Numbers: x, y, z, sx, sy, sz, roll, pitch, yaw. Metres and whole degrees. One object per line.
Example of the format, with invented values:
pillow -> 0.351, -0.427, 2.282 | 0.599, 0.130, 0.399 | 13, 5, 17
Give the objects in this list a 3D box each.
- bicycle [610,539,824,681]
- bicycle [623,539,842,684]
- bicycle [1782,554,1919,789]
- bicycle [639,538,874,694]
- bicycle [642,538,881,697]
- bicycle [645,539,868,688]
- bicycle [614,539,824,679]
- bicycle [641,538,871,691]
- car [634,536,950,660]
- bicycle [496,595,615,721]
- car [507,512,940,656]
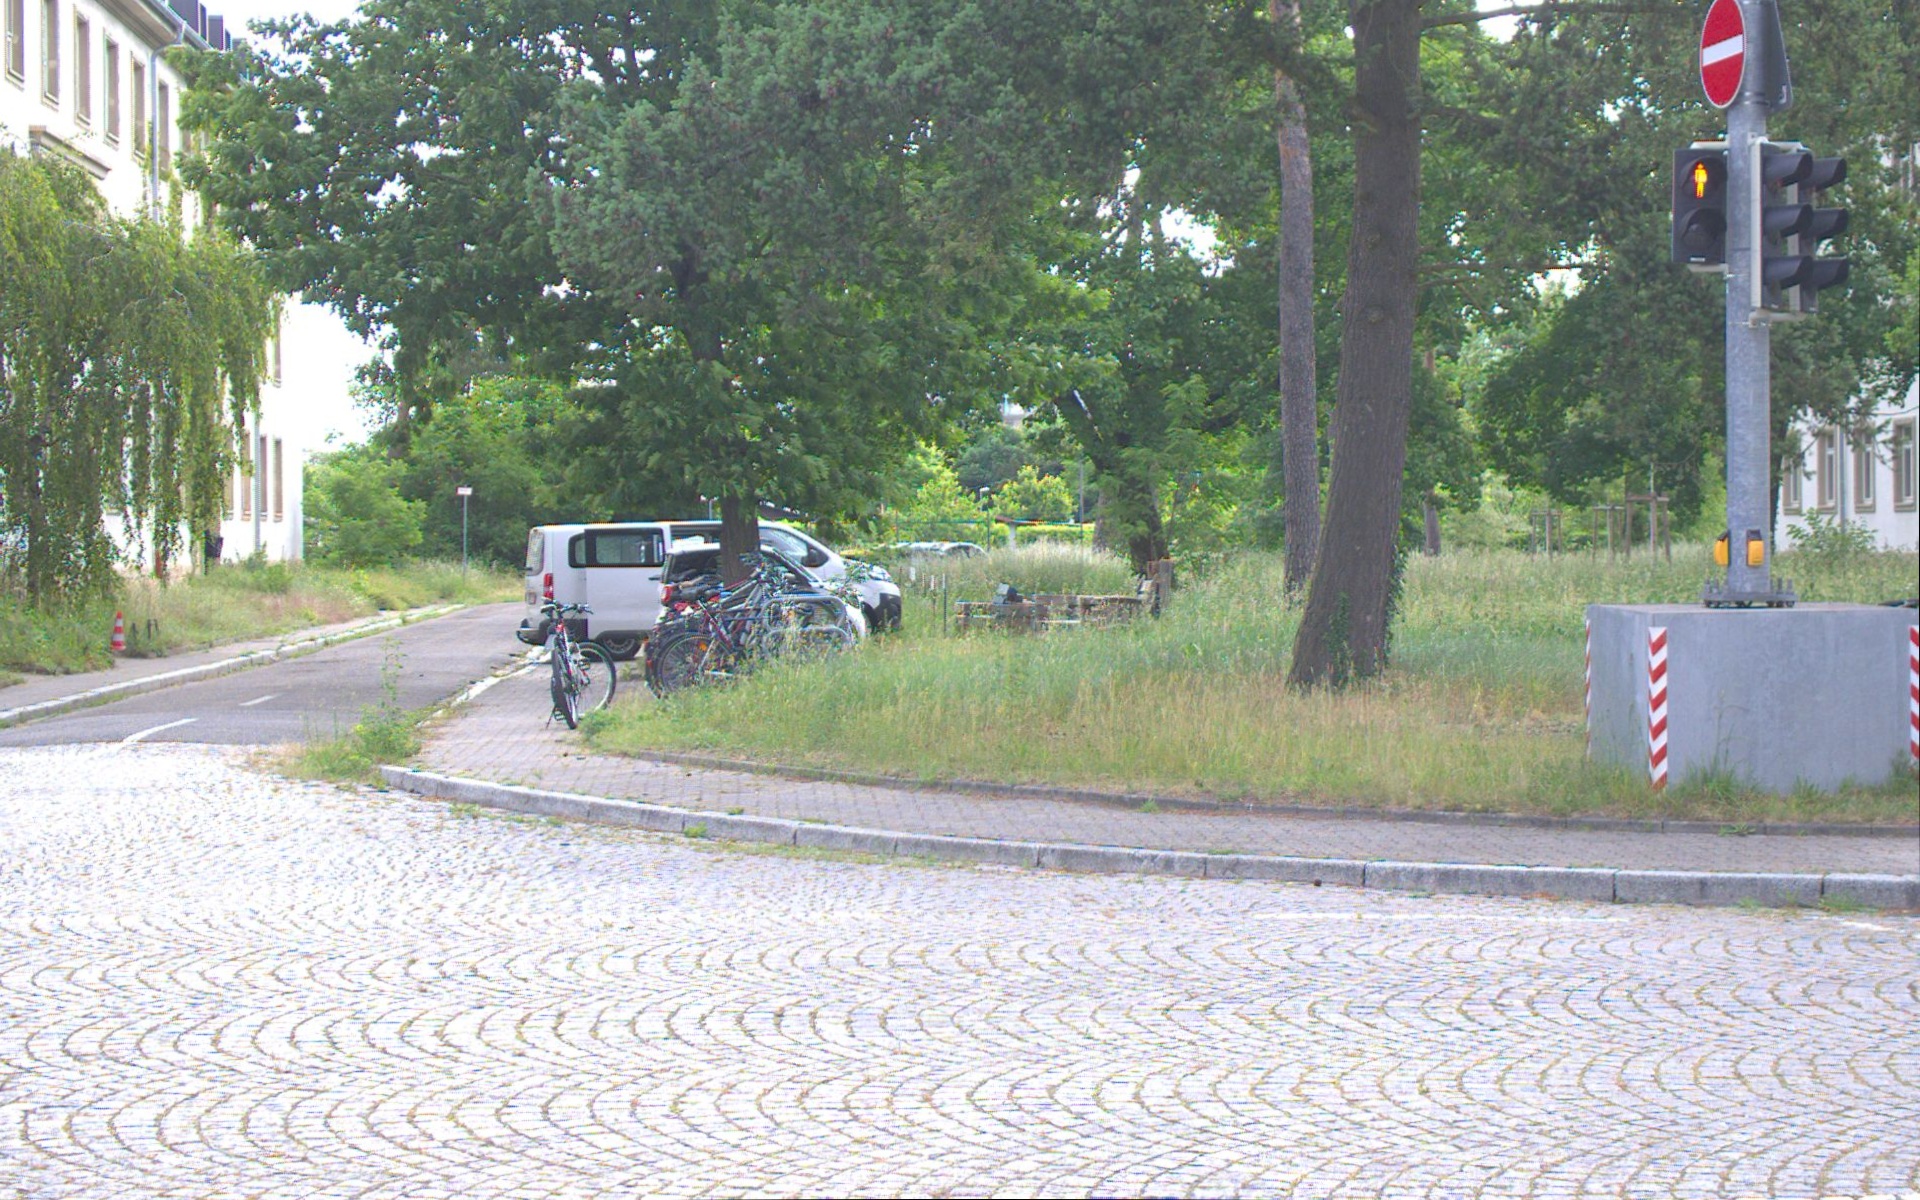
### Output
bicycle -> -2.380, 0.091, 33.803 | 2.069, 1.373, 0.620 | 0, 1, -3
bicycle -> -2.183, 0.103, 33.074 | 2.069, 1.373, 0.620 | 0, 1, -3
bicycle -> 5.110, 0.348, 18.266 | 0.908, 1.173, 1.875 | 0, 1, -4
bicycle -> -1.822, 0.135, 30.869 | 2.069, 1.373, 0.620 | 0, 1, -3
bicycle -> -1.736, 0.145, 30.202 | 2.069, 1.373, 0.620 | 0, 1, -3
bicycle -> -1.907, 0.119, 32.289 | 2.069, 1.373, 0.620 | 0, 1, -3
bicycle -> -2.413, 0.084, 34.550 | 2.069, 1.373, 0.620 | 0, 1, -3
bicycle -> -1.865, 0.128, 31.493 | 2.069, 1.373, 0.620 | 0, 1, -3
car -> -2.216, -0.051, 44.719 | 3.931, 1.539, 2.001 | 0, 1, -8
bicycle -> -3.317, 0.460, 28.327 | 0.618, 0.960, 2.076 | 0, 1, 3
car -> -3.320, -0.253, 48.034 | 5.690, 1.904, 2.231 | -1, 1, -15
